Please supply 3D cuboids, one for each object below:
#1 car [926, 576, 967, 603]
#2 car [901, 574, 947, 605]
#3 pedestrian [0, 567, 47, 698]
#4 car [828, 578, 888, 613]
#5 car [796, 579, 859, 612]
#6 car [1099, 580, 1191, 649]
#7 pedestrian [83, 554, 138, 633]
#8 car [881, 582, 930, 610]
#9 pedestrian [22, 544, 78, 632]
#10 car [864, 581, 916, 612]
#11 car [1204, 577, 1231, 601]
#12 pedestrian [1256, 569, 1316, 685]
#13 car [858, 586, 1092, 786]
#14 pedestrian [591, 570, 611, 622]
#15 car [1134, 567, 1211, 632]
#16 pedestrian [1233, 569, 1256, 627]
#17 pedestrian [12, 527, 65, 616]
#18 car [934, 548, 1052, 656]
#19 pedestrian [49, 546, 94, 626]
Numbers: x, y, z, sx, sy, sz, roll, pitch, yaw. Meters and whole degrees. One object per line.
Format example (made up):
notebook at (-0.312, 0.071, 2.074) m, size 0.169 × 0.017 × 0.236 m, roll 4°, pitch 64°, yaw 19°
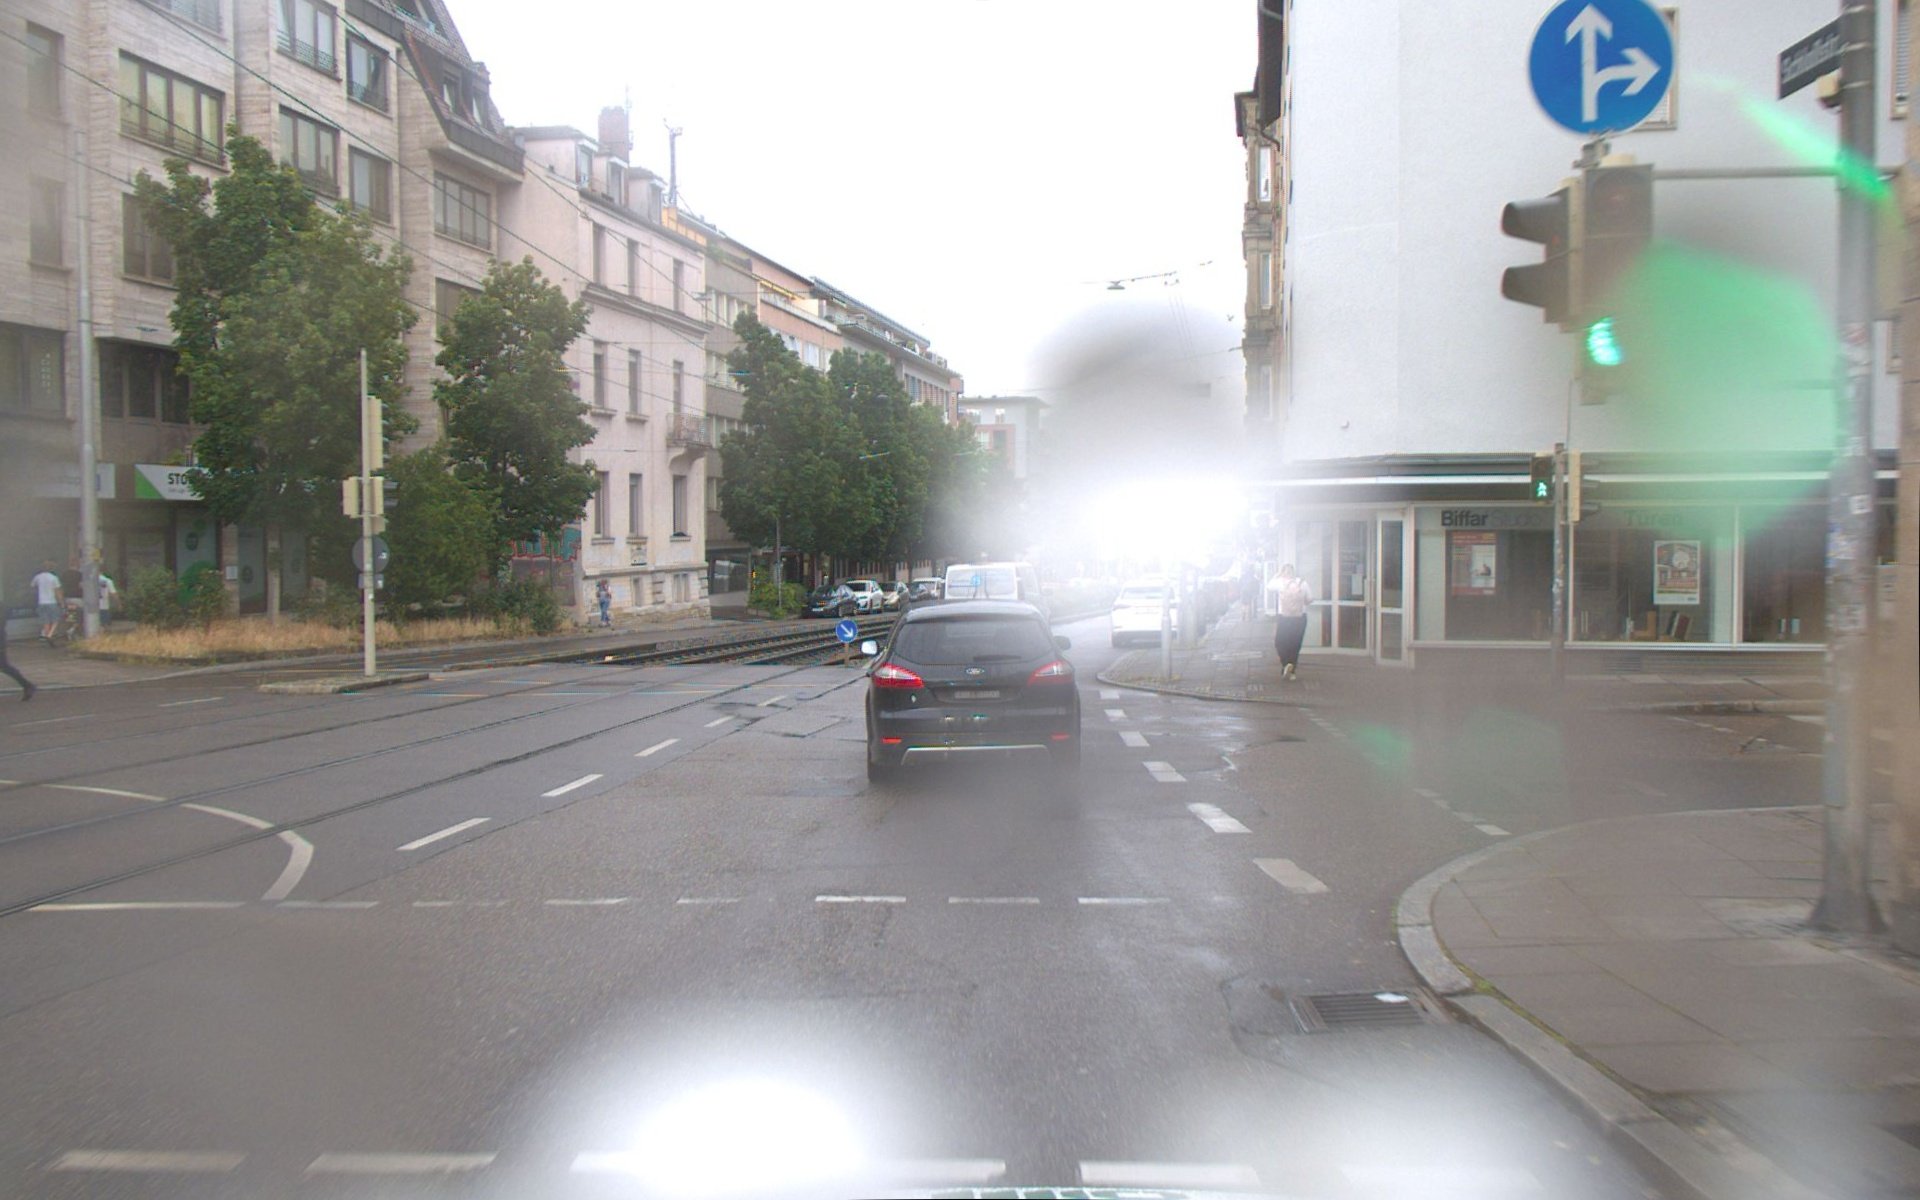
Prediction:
car at (-0.824, -0.662, 104.488) m, size 1.816 × 1.553 × 4.049 m, roll 1°, pitch 0°, yaw 10°
car at (-2.123, -0.618, 98.810) m, size 1.816 × 1.731 × 4.435 m, roll 1°, pitch 0°, yaw 10°
pedestrian at (-14.126, 0.451, 24.177) m, size 0.911 × 1.861 × 0.960 m, roll 3°, pitch -1°, yaw 2°
car at (-5.005, -0.202, 81.598) m, size 1.816 × 1.576 × 4.724 m, roll 1°, pitch 0°, yaw 10°
car at (-6.013, -0.182, 75.596) m, size 1.657 × 1.402 × 4.724 m, roll 1°, pitch -1°, yaw 10°
car at (4.313, 0.325, 38.009) m, size 1.763 × 1.481 × 4.590 m, roll 0°, pitch -1°, yaw 11°
pedestrian at (-17.521, -0.128, 34.122) m, size 0.634 × 1.576 × 0.684 m, roll 3°, pitch -1°, yaw 8°
car at (-3.021, -0.213, 92.820) m, size 1.816 × 1.443 × 4.435 m, roll -1°, pitch -1°, yaw 10°
pedestrian at (-18.635, -0.242, 33.877) m, size 0.634 × 1.754 × 0.684 m, roll 3°, pitch -1°, yaw 8°
car at (-3.695, -0.157, 87.979) m, size 1.816 × 1.576 × 4.435 m, roll 1°, pitch 0°, yaw 10°
car at (16.122, -0.675, 103.450) m, size 1.635 × 1.446 × 3.479 m, roll 0°, pitch 0°, yaw 10°
pedestrian at (4.572, 0.378, 23.242) m, size 0.674 × 1.599 × 0.763 m, roll 0°, pitch -1°, yaw -1°
car at (0.119, 0.678, 14.726) m, size 1.805 × 1.533 × 4.000 m, roll 0°, pitch 0°, yaw 0°
pedestrian at (-11.820, -0.114, 54.457) m, size 0.458 × 1.681 × 0.582 m, roll 3°, pitch -1°, yaw -2°
car at (5.819, -0.001, 44.934) m, size 1.806 × 1.661 × 4.590 m, roll 1°, pitch 0°, yaw 11°
pedestrian at (9.344, -0.088, 54.351) m, size 0.688 × 1.851 × 0.962 m, roll -2°, pitch 1°, yaw 10°
pedestrian at (-19.958, -0.619, 35.819) m, size 0.668 × 1.874 × 0.649 m, roll 3°, pitch -1°, yaw 24°
car at (0.770, -0.014, 34.795) m, size 1.946 × 2.096 × 4.649 m, roll 1°, pitch 1°, yaw 7°
pedestrian at (-18.592, -0.284, 34.622) m, size 0.493 × 1.625 × 0.586 m, roll 3°, pitch -1°, yaw 8°
